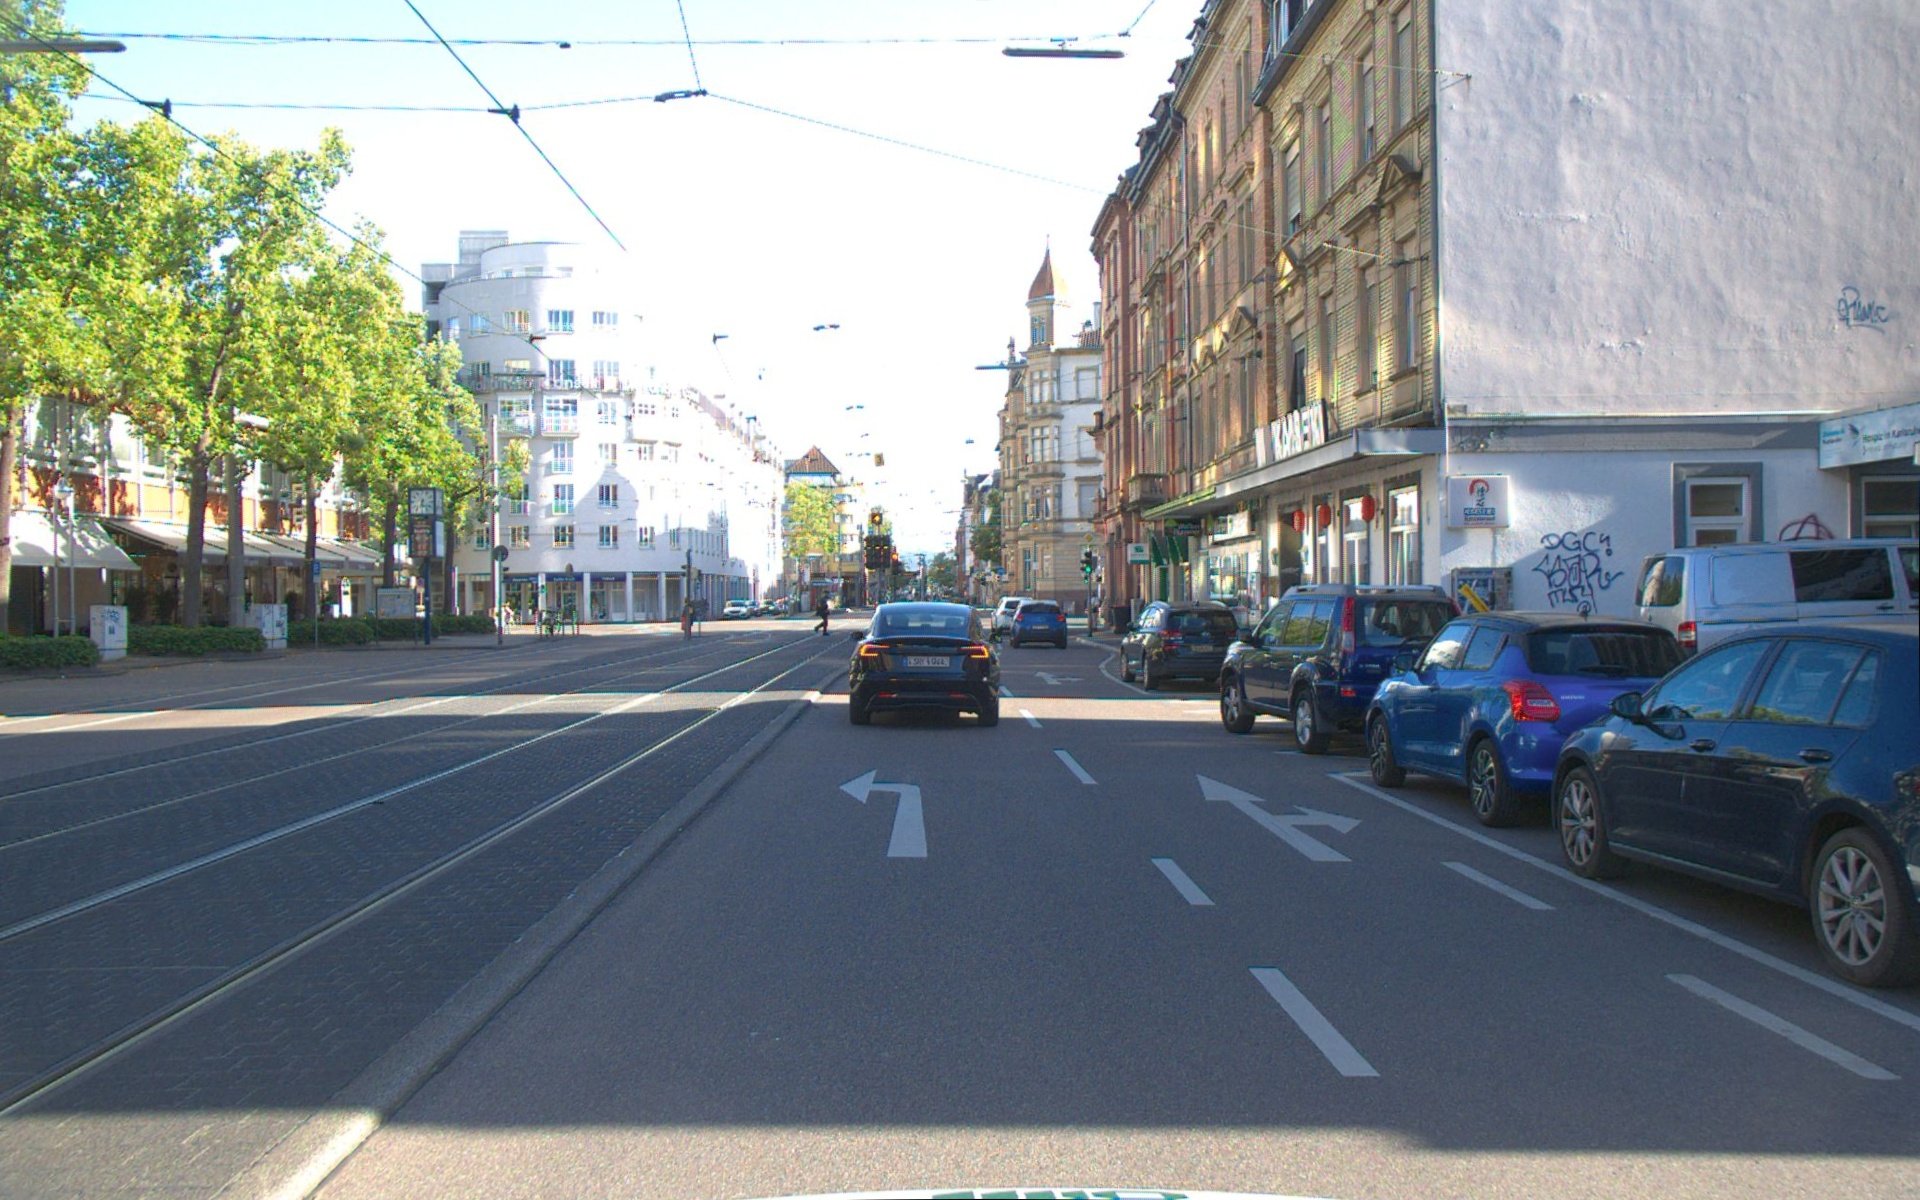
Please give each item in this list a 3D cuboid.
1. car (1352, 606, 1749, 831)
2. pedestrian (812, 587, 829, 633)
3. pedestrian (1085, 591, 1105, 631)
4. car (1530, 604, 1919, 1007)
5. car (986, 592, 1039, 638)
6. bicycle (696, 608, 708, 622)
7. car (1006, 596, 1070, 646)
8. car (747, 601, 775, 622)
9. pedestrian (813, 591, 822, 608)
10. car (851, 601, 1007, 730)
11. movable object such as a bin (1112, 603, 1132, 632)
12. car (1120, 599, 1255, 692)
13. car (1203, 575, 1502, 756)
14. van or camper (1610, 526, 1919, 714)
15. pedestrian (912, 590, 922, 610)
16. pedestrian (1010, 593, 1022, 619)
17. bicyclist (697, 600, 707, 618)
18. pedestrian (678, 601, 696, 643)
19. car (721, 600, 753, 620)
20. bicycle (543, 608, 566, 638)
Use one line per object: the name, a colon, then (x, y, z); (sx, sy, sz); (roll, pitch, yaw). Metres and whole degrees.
car: (4.416, 0.806, 12.989); (1.679, 1.480, 3.777); (1, 0, -2)
pedestrian: (-5.472, 0.388, 64.791); (0.546, 1.794, 0.895); (-2, 0, -1)
pedestrian: (5.571, 0.446, 68.238); (0.668, 1.635, 0.729); (-1, 0, -10)
car: (4.397, 0.805, 8.093); (1.664, 1.509, 4.225); (1, -1, -2)
car: (2.094, 0.610, 67.006); (1.953, 1.773, 3.999); (1, -1, -1)
bicycle: (-18.925, 1.091, 121.172); (0.582, 0.989, 1.817); (-1, -1, -1)
car: (2.423, 0.638, 52.058); (1.745, 1.476, 3.653); (1, 0, -1)
car: (-18.423, 1.048, 153.503); (2.182, 1.944, 4.607); (0, 0, -2)
pedestrian: (-13.008, -0.047, 150.980); (0.716, 1.554, 0.742); (0, 0, -2)
car: (-0.408, 0.758, 21.075); (1.774, 1.449, 4.152); (1, 0, -2)
movable object such as a bin: (6.193, 0.667, 63.181); (0.649, 1.091, 0.591); (-4, 0, 1)
car: (3.902, 0.733, 29.033); (1.656, 1.476, 4.358); (1, 0, -2)
car: (4.174, 0.657, 18.397); (1.658, 1.743, 4.607); (1, 0, -8)
van or camper: (10.486, 0.176, 19.724); (4.595, 1.966, 2.001); (-3, 0, 2)
pedestrian: (-3.883, -0.011, 148.790); (0.704, 1.808, 0.563); (-1, 0, 35)
pedestrian: (3.866, 0.409, 114.236); (0.764, 1.780, 1.092); (0, 1, -4)
bicyclist: (-18.925, 0.639, 121.145); (0.576, 1.308, 0.927); (-1, -1, -1)
pedestrian: (-10.222, 0.833, 62.027); (0.490, 1.544, 0.859); (-2, 0, -1)
car: (-16.712, 0.737, 124.166); (1.954, 1.477, 4.499); (-1, 0, -3)
bicycle: (-16.991, 0.963, 69.274); (0.487, 1.207, 2.234); (-1, 0, -3)
